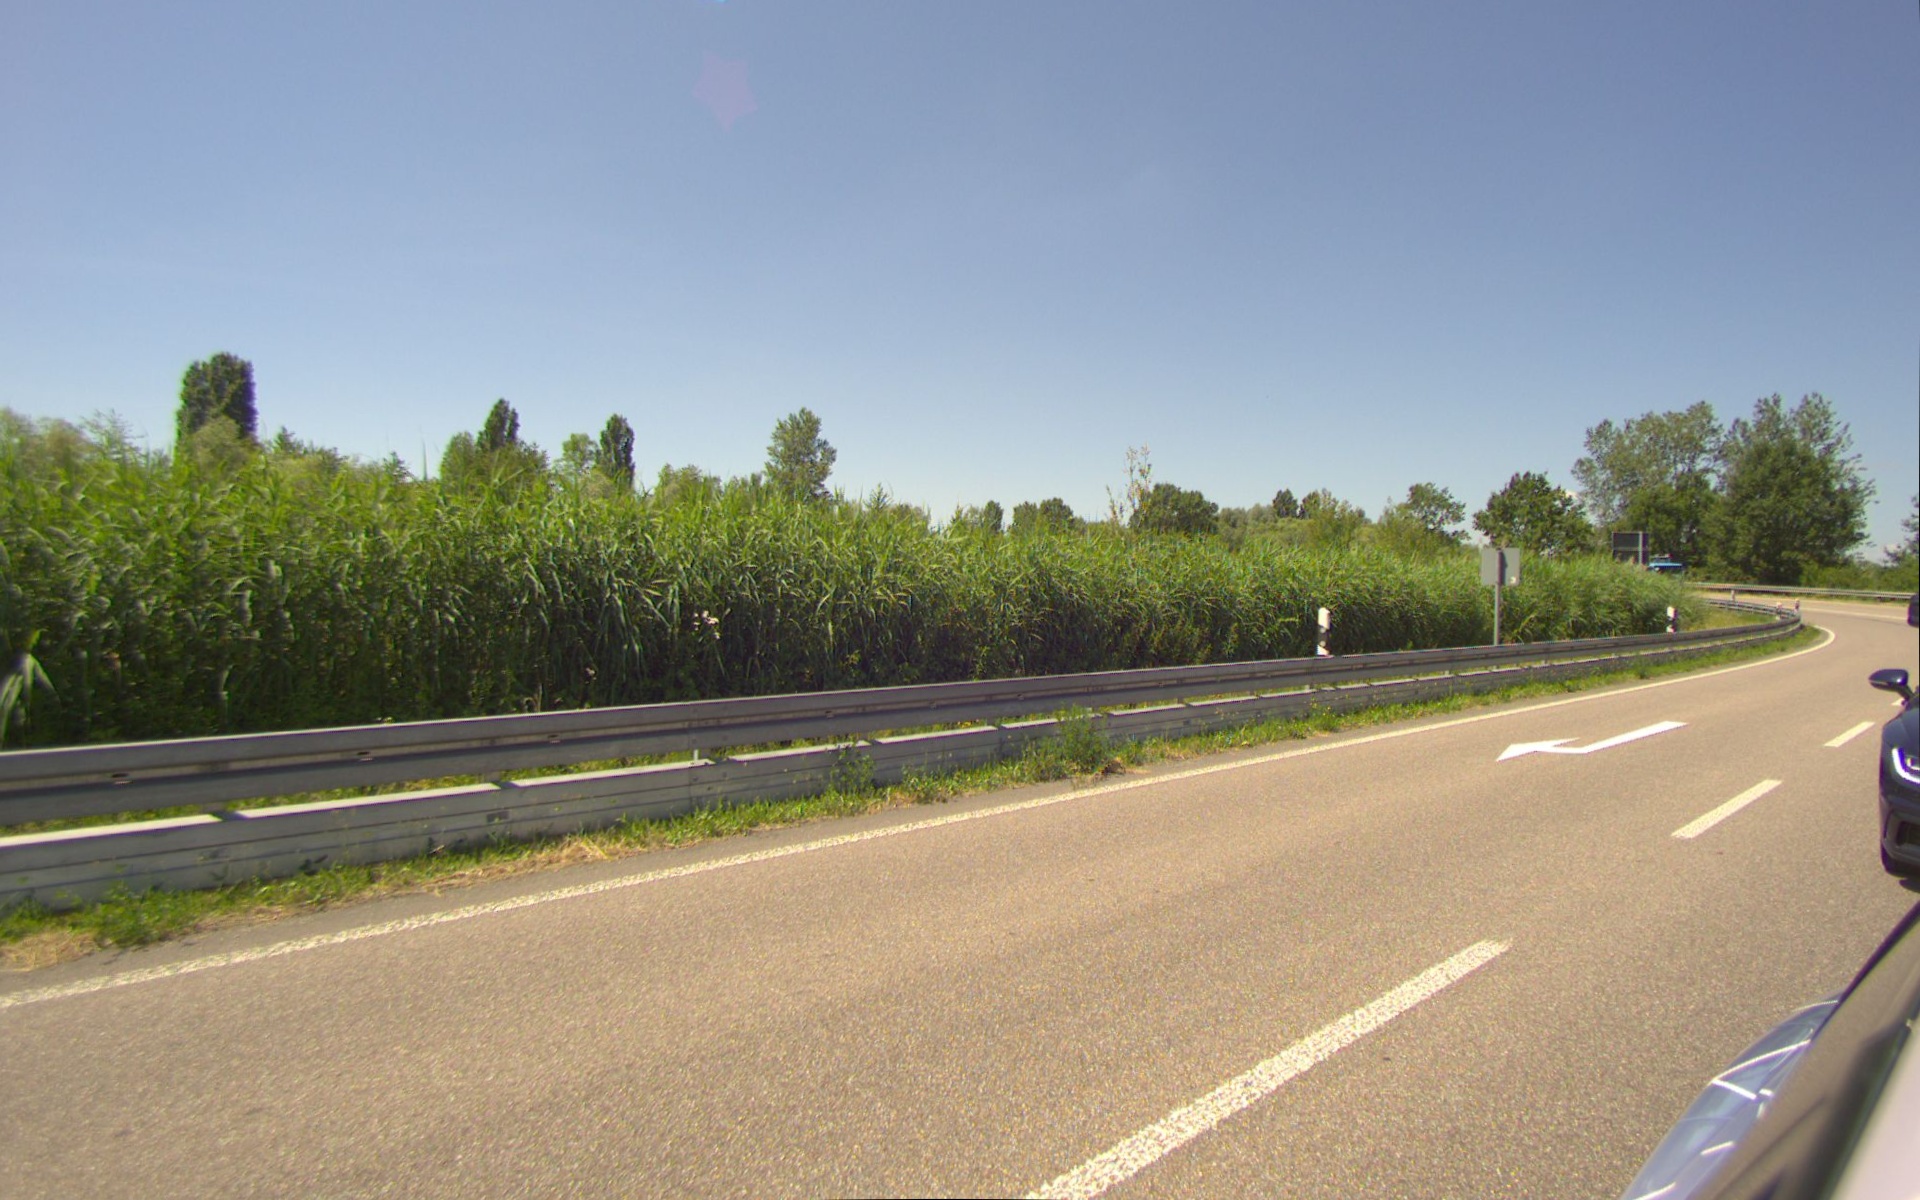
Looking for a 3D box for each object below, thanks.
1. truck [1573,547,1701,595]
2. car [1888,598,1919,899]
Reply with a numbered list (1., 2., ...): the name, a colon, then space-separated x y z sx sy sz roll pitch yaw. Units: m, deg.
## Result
1. truck: 47.333 -1.968 71.148 2.527 3.108 9.086 0 1 -3
2. car: 6.566 0.701 5.563 3.931 1.427 1.759 -1 1 -41
